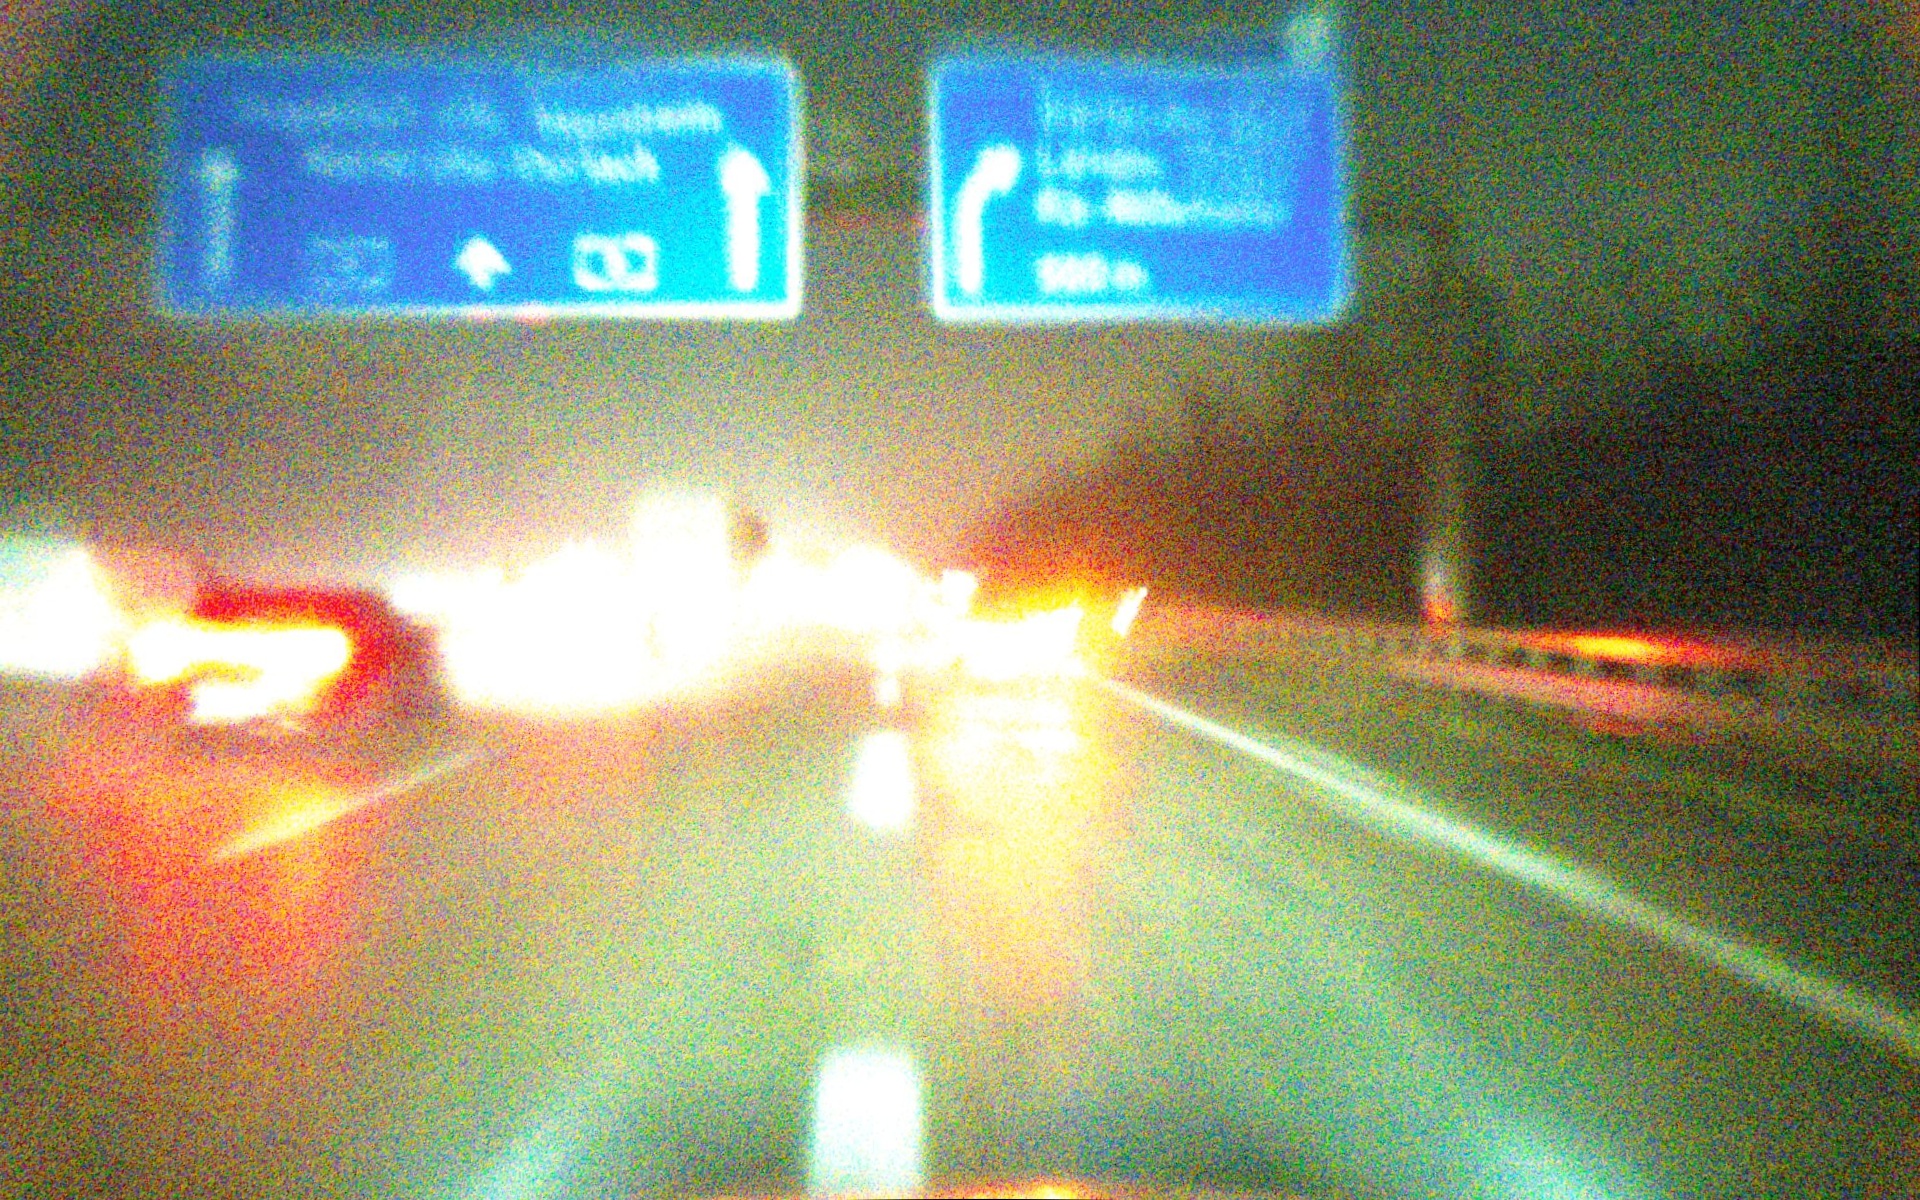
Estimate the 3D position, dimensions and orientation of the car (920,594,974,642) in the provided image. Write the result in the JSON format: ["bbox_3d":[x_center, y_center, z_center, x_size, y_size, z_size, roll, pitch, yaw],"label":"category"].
[{"bbox_3d":[-0.537,0.648,63.203,1.953,1.733,4.457,1,0,-2],"label":"car"}]

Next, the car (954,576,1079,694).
[{"bbox_3d":[0.865,0.541,27.549,1.840,1.793,3.999,1,0,-1],"label":"car"}]

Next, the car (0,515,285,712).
[{"bbox_3d":[-10.627,0.125,20.933,2.081,2.141,5.626,1,0,-3],"label":"car"}]

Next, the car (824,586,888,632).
[{"bbox_3d":[-4.914,0.421,78.718,2.775,2.049,5.508,1,0,-1],"label":"car"}]

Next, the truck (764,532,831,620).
[{"bbox_3d":[-10.849,-1.533,110.787,4.171,5.539,10.872,1,0,-5],"label":"truck"}]

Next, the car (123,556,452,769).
[{"bbox_3d":[-6.092,0.483,15.495,1.731,1.718,3.996,1,1,-5],"label":"car"}]

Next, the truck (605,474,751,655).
[{"bbox_3d":[-8.247,-0.961,49.680,3.586,4.820,9.840,1,0,-6],"label":"truck"}]

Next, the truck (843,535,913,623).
[{"bbox_3d":[-5.373,-1.280,106.298,4.080,5.306,9.944,1,0,-5],"label":"truck"}]

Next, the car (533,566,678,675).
[{"bbox_3d":[-6.362,0.349,30.131,1.999,1.792,4.511,1,0,-5],"label":"car"}]

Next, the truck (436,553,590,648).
[{"bbox_3d":[-11.501,0.017,43.088,2.801,2.239,5.853,1,0,-5],"label":"truck"}]
